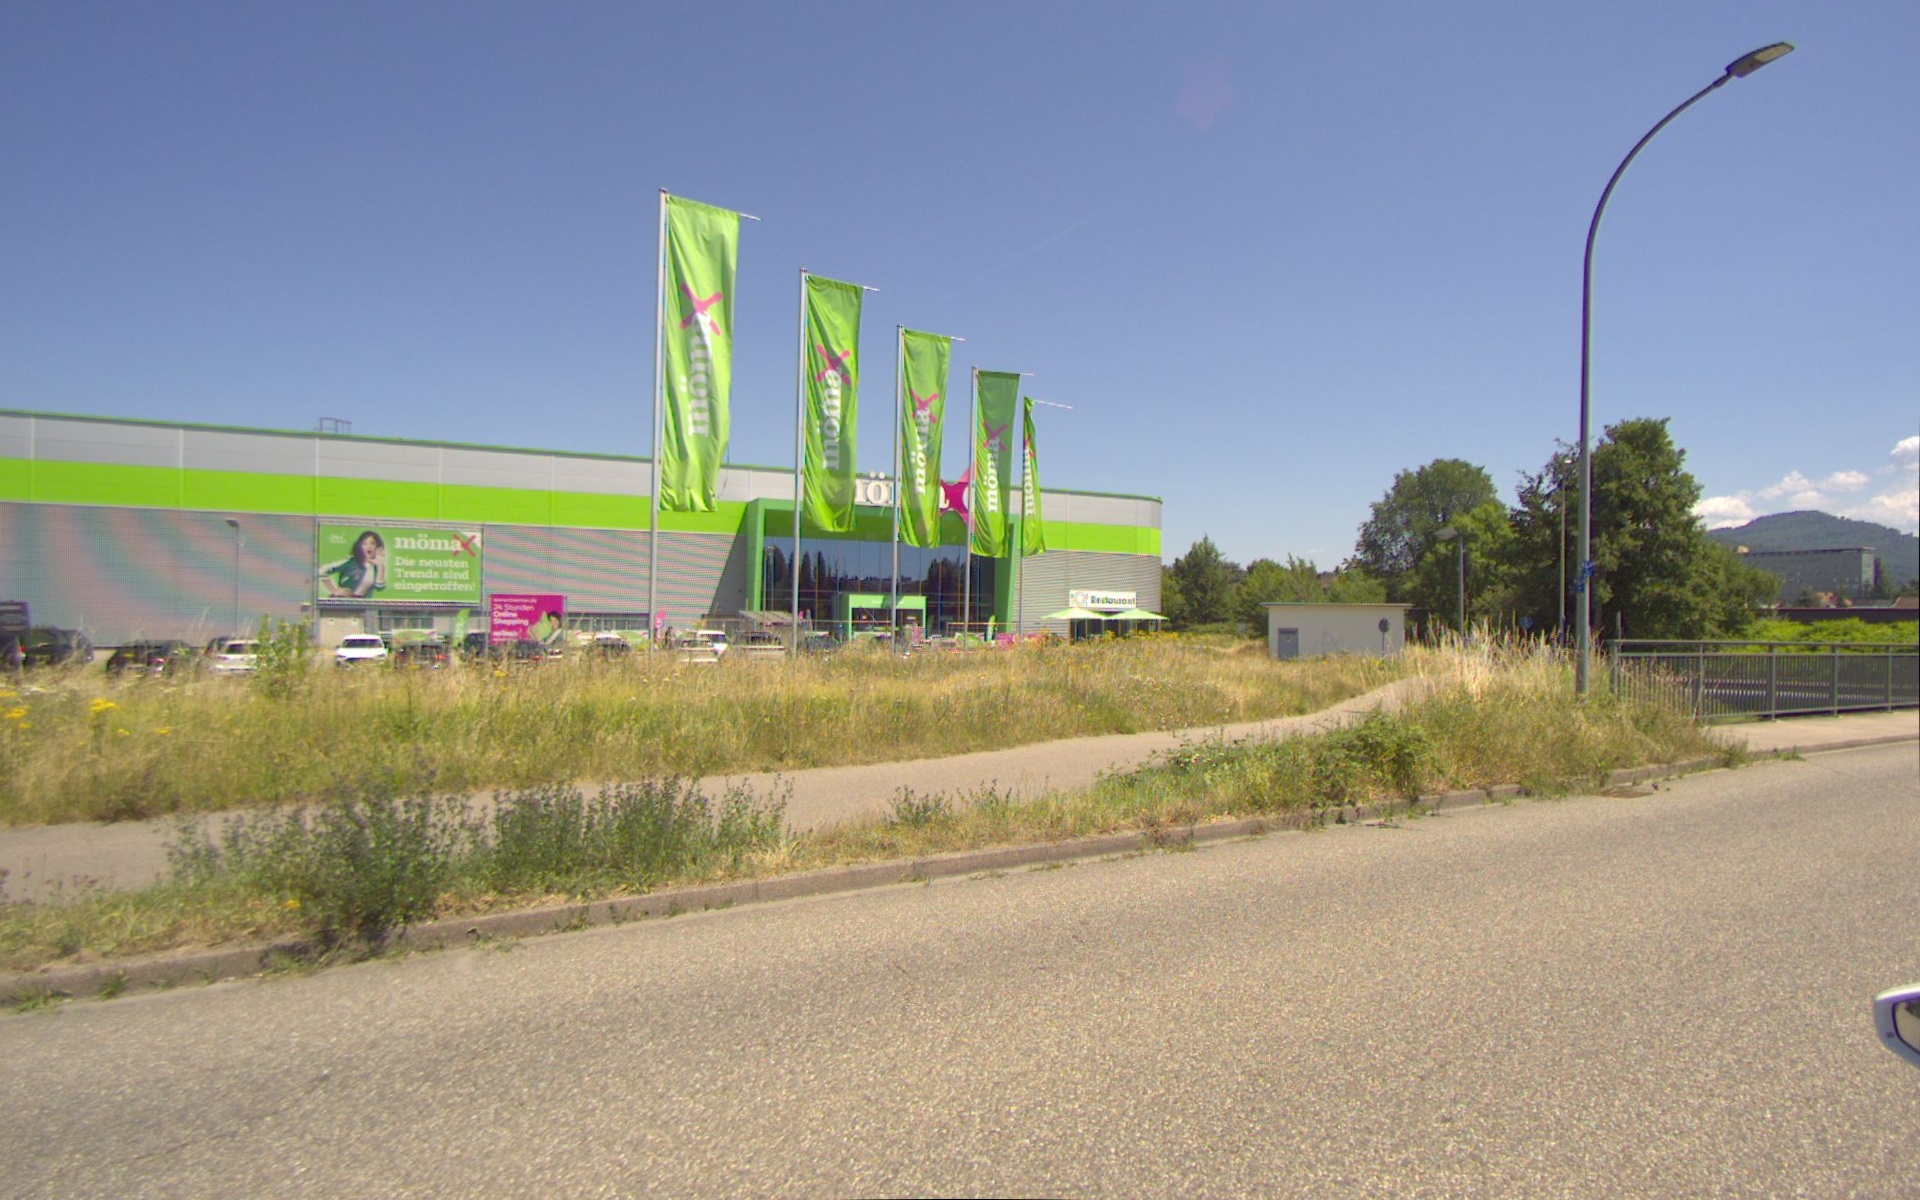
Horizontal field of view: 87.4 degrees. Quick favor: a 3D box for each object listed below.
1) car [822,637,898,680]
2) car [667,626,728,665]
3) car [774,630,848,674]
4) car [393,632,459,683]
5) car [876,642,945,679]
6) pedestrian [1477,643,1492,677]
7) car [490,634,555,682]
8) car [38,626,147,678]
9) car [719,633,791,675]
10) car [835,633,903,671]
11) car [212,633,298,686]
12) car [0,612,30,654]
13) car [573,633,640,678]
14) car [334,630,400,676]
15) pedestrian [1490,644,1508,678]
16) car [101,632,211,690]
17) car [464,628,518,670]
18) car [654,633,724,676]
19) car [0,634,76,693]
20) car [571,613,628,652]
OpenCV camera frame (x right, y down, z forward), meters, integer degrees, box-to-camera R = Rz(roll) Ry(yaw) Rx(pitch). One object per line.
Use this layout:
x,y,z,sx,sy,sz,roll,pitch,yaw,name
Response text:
-4.381,2.508,43.552,1.974,1.533,3.972,1,1,-27,car
-12.313,2.071,46.898,1.974,1.533,3.972,1,1,-27,car
-6.363,2.154,42.505,1.974,1.533,3.972,1,1,-27,car
-19.225,2.011,36.276,1.974,1.533,3.972,1,1,-27,car
-2.520,2.982,50.108,1.974,1.533,3.972,1,1,-27,car
27.111,3.109,51.910,0.507,1.696,0.626,3,1,38,pedestrian
-16.254,2.096,37.219,1.974,1.449,3.972,1,1,-27,car
-30.587,1.783,35.541,1.974,1.533,3.972,1,1,-27,car
-8.491,2.179,41.360,1.974,1.436,3.972,1,1,-27,car
-4.489,2.502,48.873,1.974,1.533,3.972,1,1,-27,car
-23.926,1.976,34.230,1.822,1.456,3.972,1,1,-27,car
-43.727,1.485,44.362,1.964,1.795,3.993,1,1,-9,car
-13.768,2.107,39.004,1.974,1.463,3.972,1,1,-27,car
-23.378,2.054,39.727,1.974,1.533,3.972,1,1,-27,car
27.753,3.121,51.704,0.619,1.696,0.595,3,1,39,pedestrian
-26.061,1.924,32.704,1.974,1.533,3.972,1,1,-27,car
-20.245,2.060,43.276,1.974,1.533,3.972,1,1,-27,car
-11.024,2.151,40.666,1.974,1.428,3.972,1,1,-27,car
-29.191,1.913,30.938,1.974,1.487,3.972,1,1,-27,car
-16.424,1.456,45.684,1.974,1.533,3.972,1,1,-27,car
